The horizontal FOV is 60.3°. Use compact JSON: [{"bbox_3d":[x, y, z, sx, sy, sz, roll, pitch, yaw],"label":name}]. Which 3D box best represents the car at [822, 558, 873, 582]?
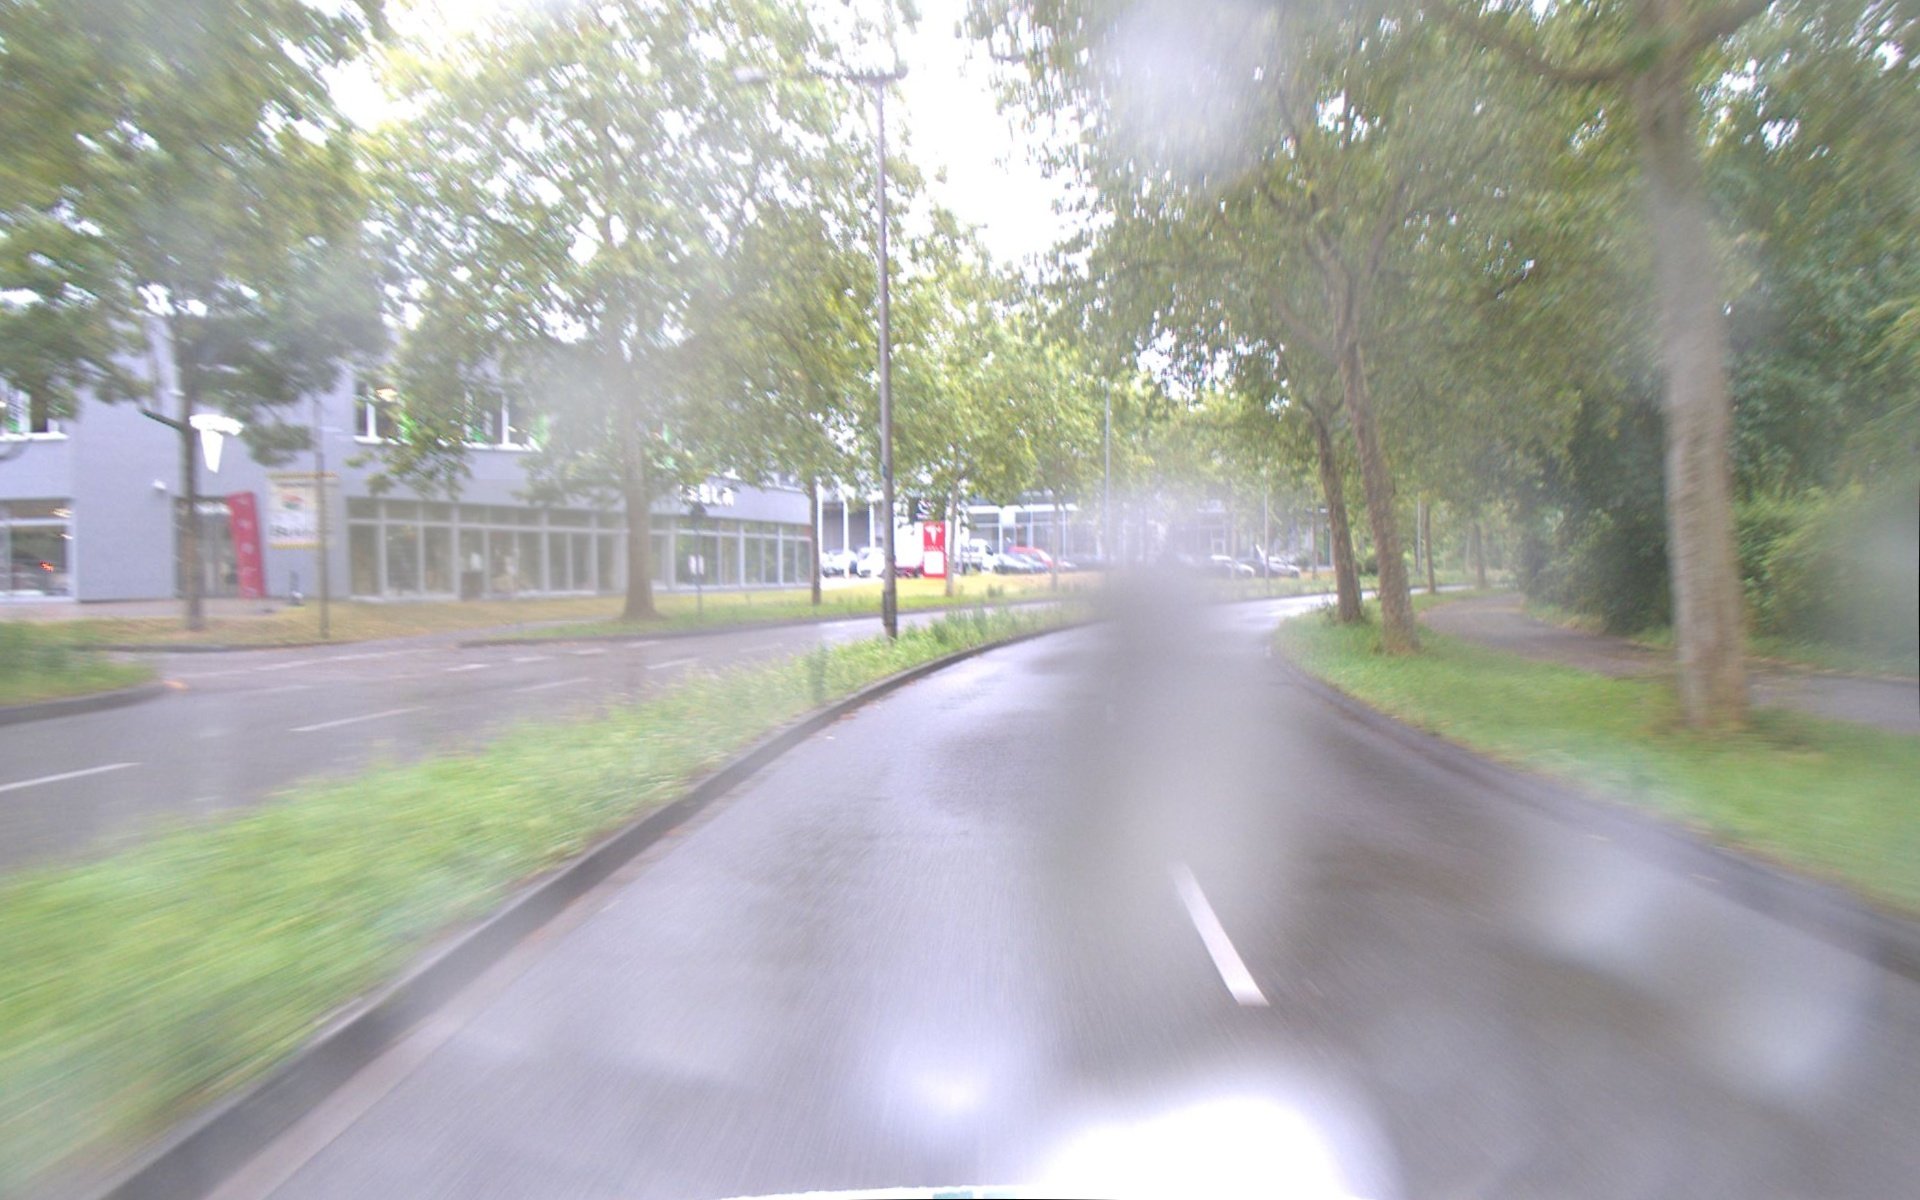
[{"bbox_3d":[-7.313,-1.988,107.601,1.726,1.421,4.158,2,3,21],"label":"car"}]

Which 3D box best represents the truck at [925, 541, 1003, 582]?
[{"bbox_3d":[0.291,-2.475,104.058,2.204,2.384,6.187,4,4,28],"label":"truck"}]

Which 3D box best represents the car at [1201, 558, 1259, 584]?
[{"bbox_3d":[21.278,-2.287,130.283,4.045,1.503,1.844,5,6,-12],"label":"car"}]

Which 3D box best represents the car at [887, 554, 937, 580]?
[{"bbox_3d":[-3.017,-2.135,104.919,1.726,1.492,4.158,2,3,21],"label":"car"}]

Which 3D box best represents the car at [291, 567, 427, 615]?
[{"bbox_3d":[-19.433,-0.299,53.507,4.105,1.520,1.598,0,0,21],"label":"car"}]

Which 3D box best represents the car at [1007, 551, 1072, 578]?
[{"bbox_3d":[5.403,-2.422,112.254,3.920,1.583,1.846,4,4,27],"label":"car"}]

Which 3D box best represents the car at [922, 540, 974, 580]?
[{"bbox_3d":[-0.941,-2.989,122.500,2.133,2.800,5.307,1,2,-21],"label":"car"}]

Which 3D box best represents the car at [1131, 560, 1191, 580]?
[{"bbox_3d":[15.808,-2.371,130.176,4.334,1.499,1.919,1,1,25],"label":"car"}]

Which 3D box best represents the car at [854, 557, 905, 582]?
[{"bbox_3d":[-5.167,-1.989,106.745,1.726,1.421,4.158,2,3,21],"label":"car"}]

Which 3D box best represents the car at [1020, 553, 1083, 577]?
[{"bbox_3d":[6.344,-2.437,114.939,3.920,1.380,1.846,4,4,27],"label":"car"}]

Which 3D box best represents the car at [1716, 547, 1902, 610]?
[{"bbox_3d":[21.989,-0.587,43.020,4.057,1.508,1.769,2,3,19],"label":"car"}]

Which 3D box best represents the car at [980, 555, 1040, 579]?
[{"bbox_3d":[3.249,-2.160,107.729,3.456,1.349,1.767,4,4,27],"label":"car"}]
